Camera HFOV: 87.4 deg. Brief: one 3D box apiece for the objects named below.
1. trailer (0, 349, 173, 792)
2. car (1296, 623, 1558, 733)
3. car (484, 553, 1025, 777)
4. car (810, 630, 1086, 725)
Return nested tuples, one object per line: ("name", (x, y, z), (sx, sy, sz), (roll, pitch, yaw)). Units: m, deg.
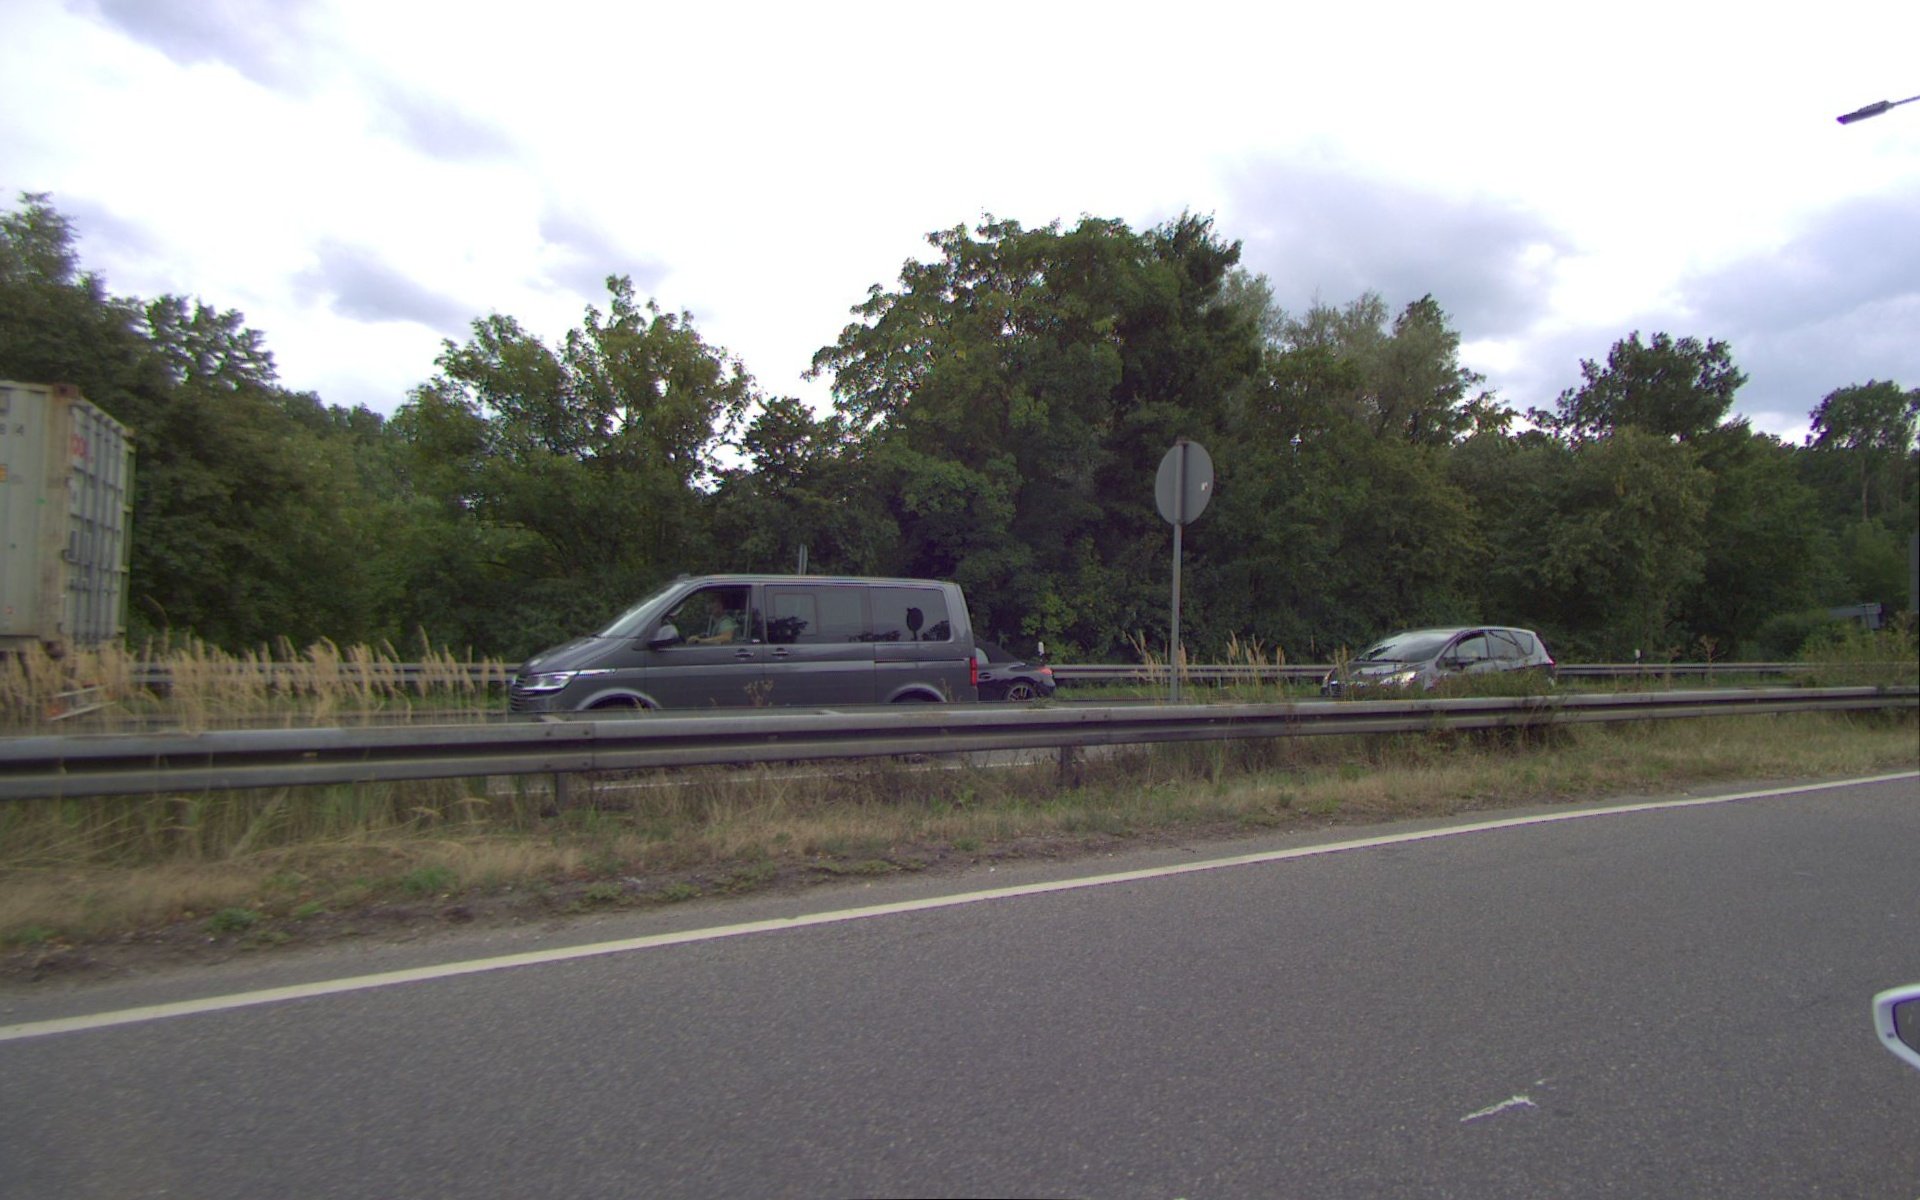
("trailer", (-13.631, -0.476, 8.397), (10.645, 4.201, 2.523), (3, -2, -30))
("car", (7.348, 1.205, 15.766), (3.891, 1.526, 1.760), (3, -2, -28))
("car", (-2.056, 0.677, 10.637), (5.215, 1.887, 2.000), (3, -2, -30))
("car", (-0.166, 1.200, 15.821), (3.950, 1.305, 1.812), (3, -2, -28))
